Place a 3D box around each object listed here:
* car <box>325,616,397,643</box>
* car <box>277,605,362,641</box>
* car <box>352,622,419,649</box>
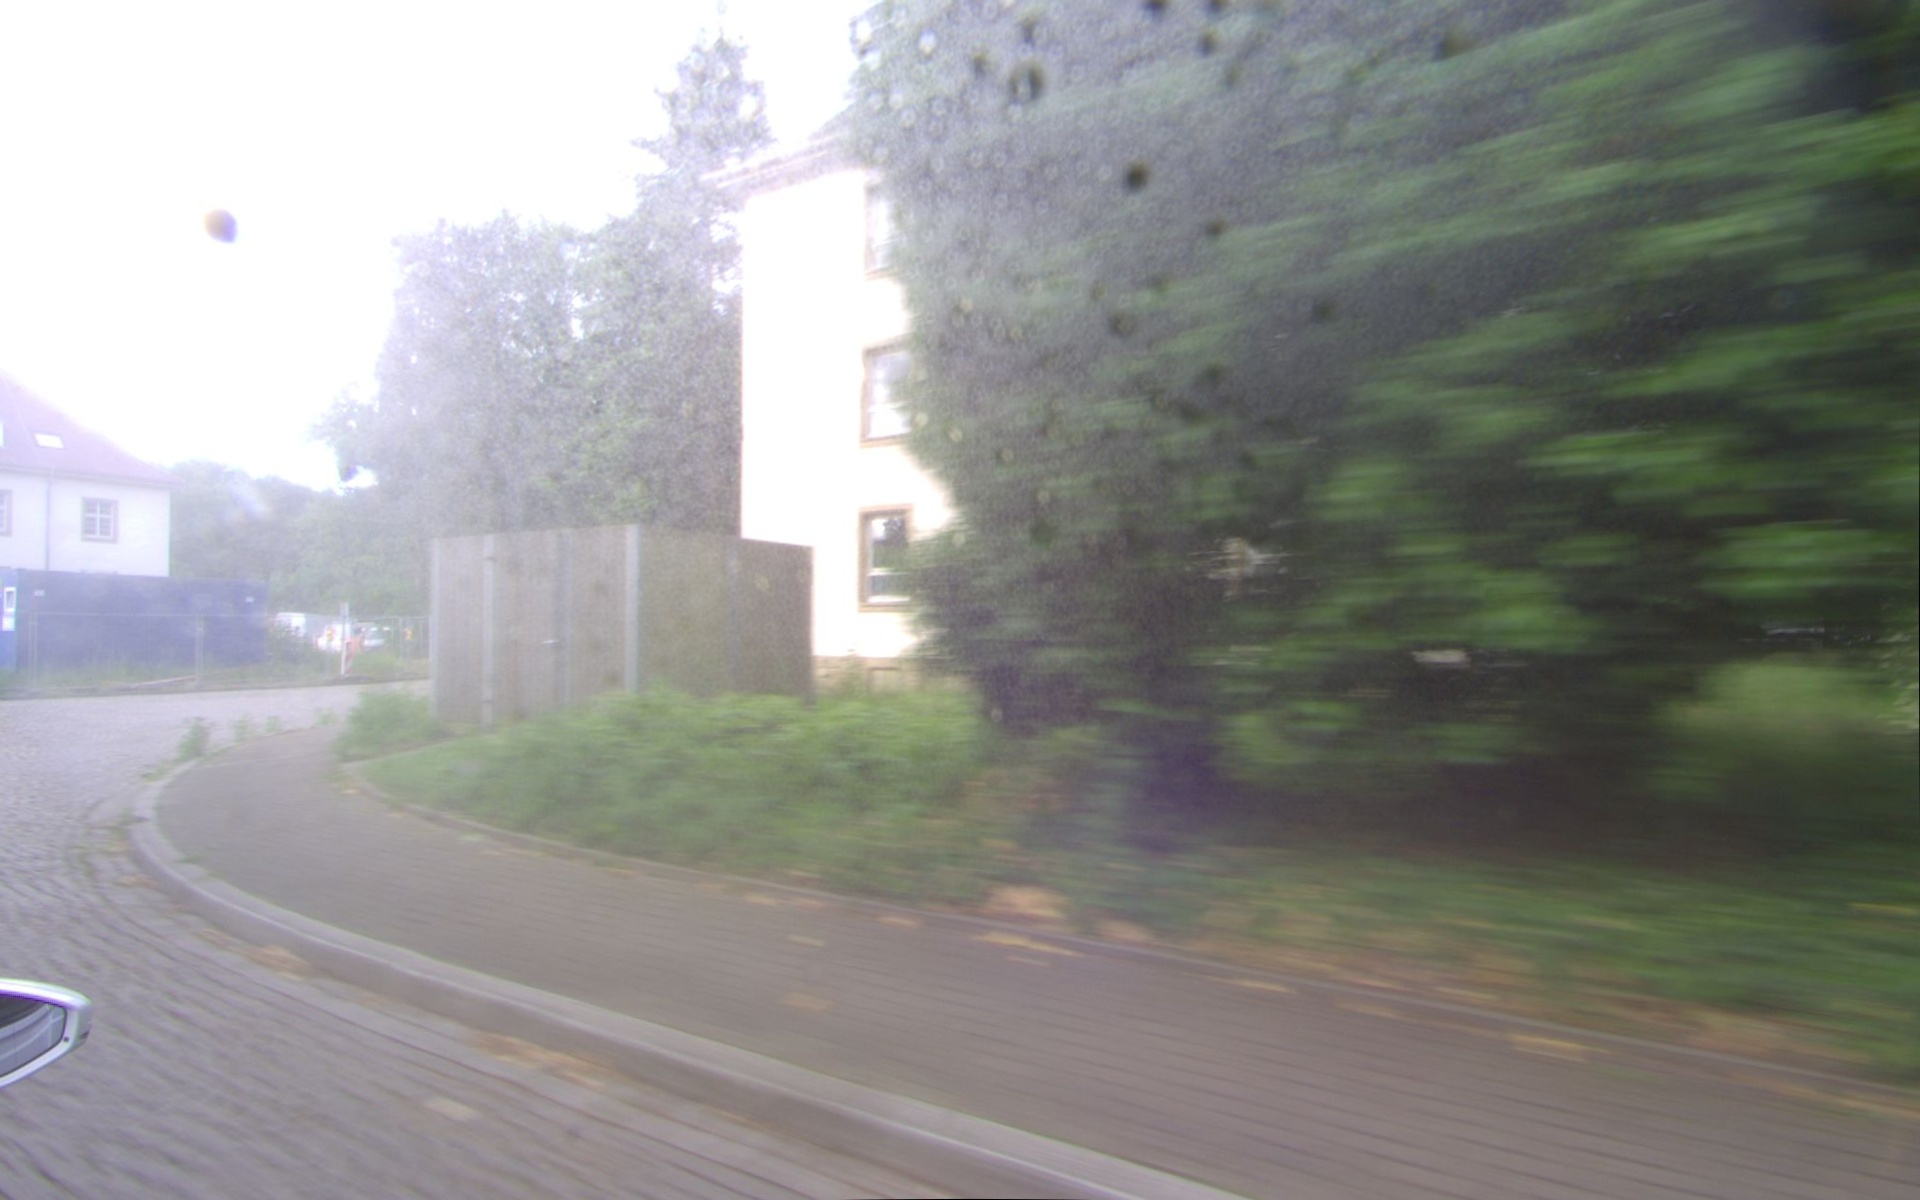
[{"bbox_3d":[-36.093,1.788,60.476,1.730,1.521,4.448,0,-2,0],"label":"car"},{"bbox_3d":[-39.006,1.431,61.152,1.730,2.069,5.424,0,-2,0],"label":"car"},{"bbox_3d":[-33.325,2.045,58.169,1.589,1.506,3.989,1,-2,0],"label":"car"}]
